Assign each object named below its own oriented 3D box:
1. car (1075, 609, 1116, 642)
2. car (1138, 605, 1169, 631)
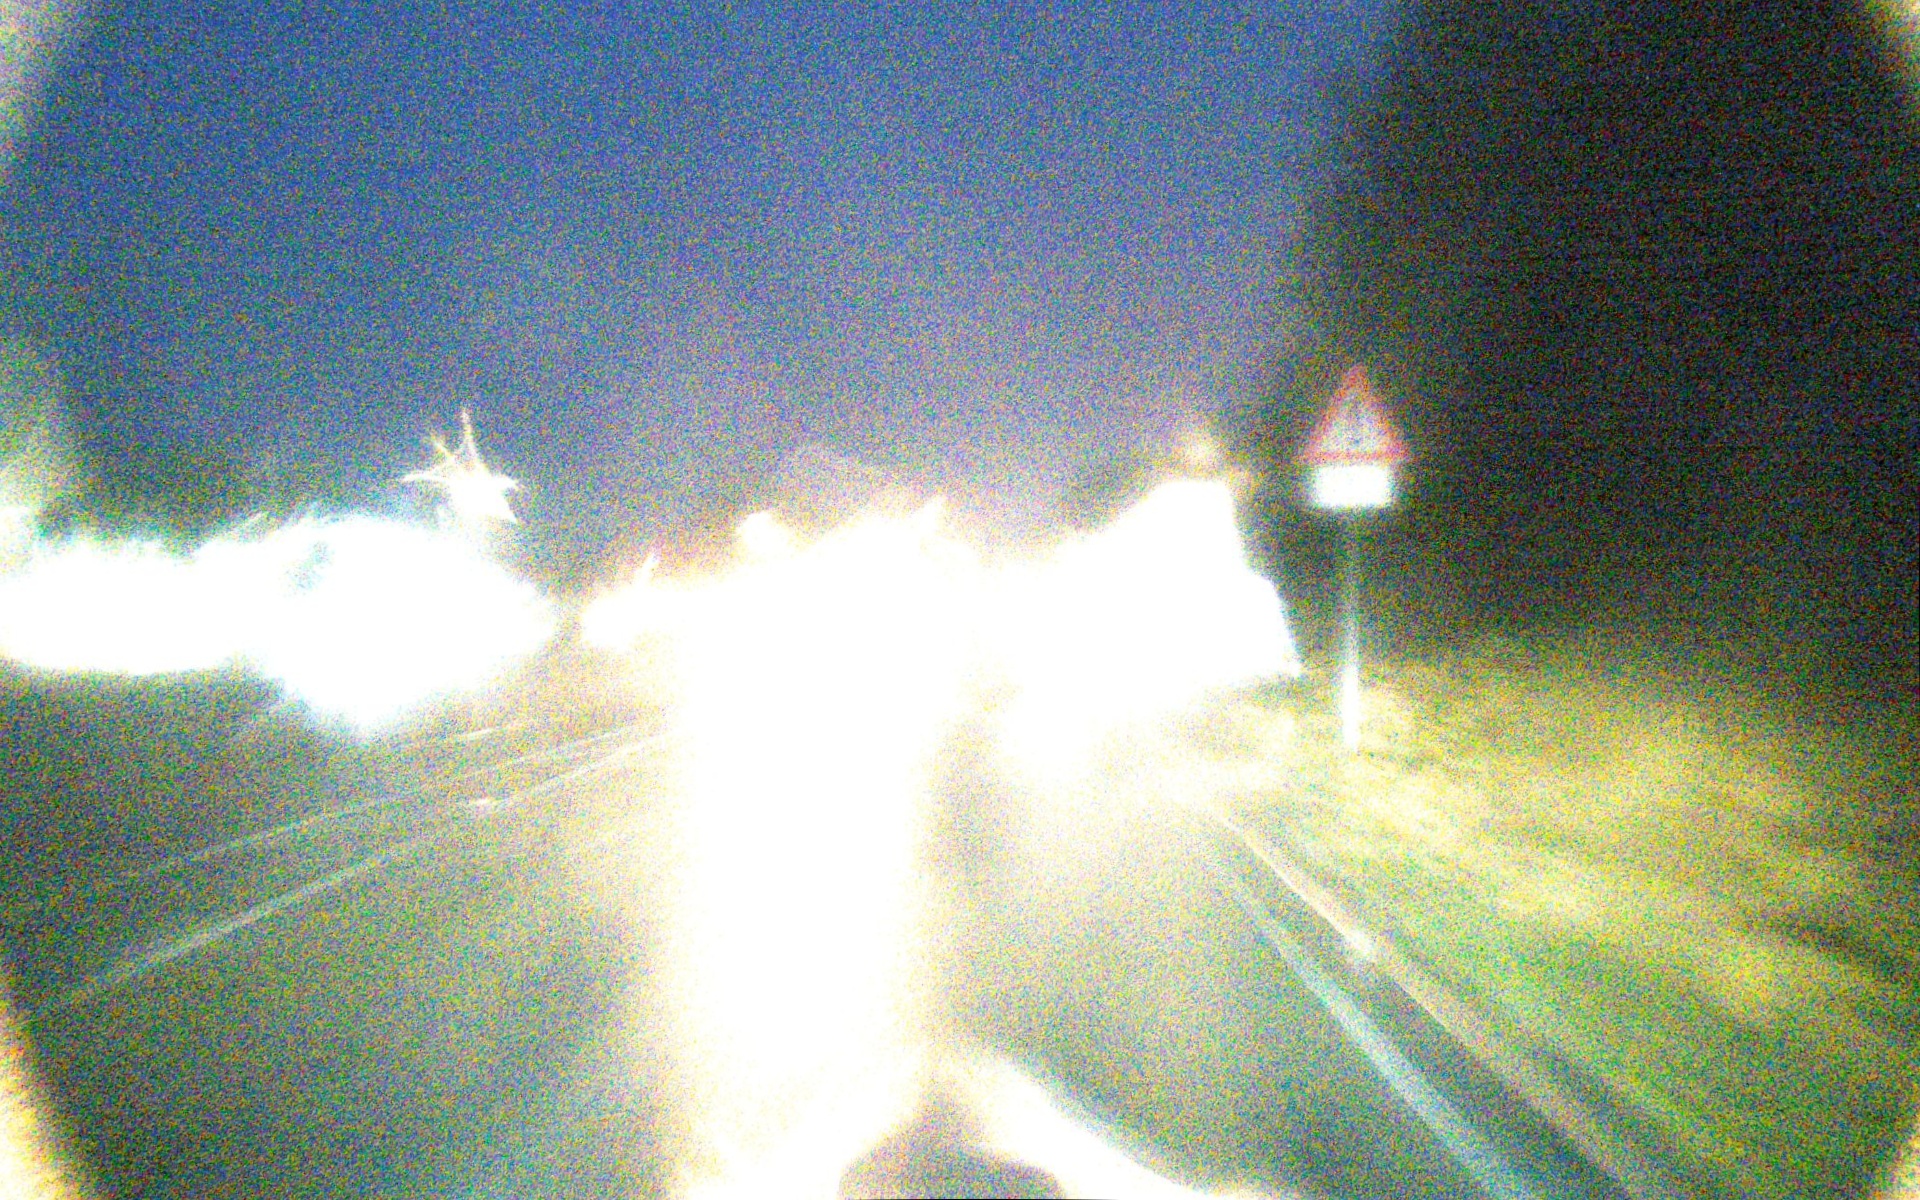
[{"bbox_3d":[7.138,1.358,86.739,1.951,1.630,4.003,0,-2,8],"label":"car"},{"bbox_3d":[12.658,1.204,108.181,1.951,1.630,4.003,0,-2,8],"label":"car"}]
